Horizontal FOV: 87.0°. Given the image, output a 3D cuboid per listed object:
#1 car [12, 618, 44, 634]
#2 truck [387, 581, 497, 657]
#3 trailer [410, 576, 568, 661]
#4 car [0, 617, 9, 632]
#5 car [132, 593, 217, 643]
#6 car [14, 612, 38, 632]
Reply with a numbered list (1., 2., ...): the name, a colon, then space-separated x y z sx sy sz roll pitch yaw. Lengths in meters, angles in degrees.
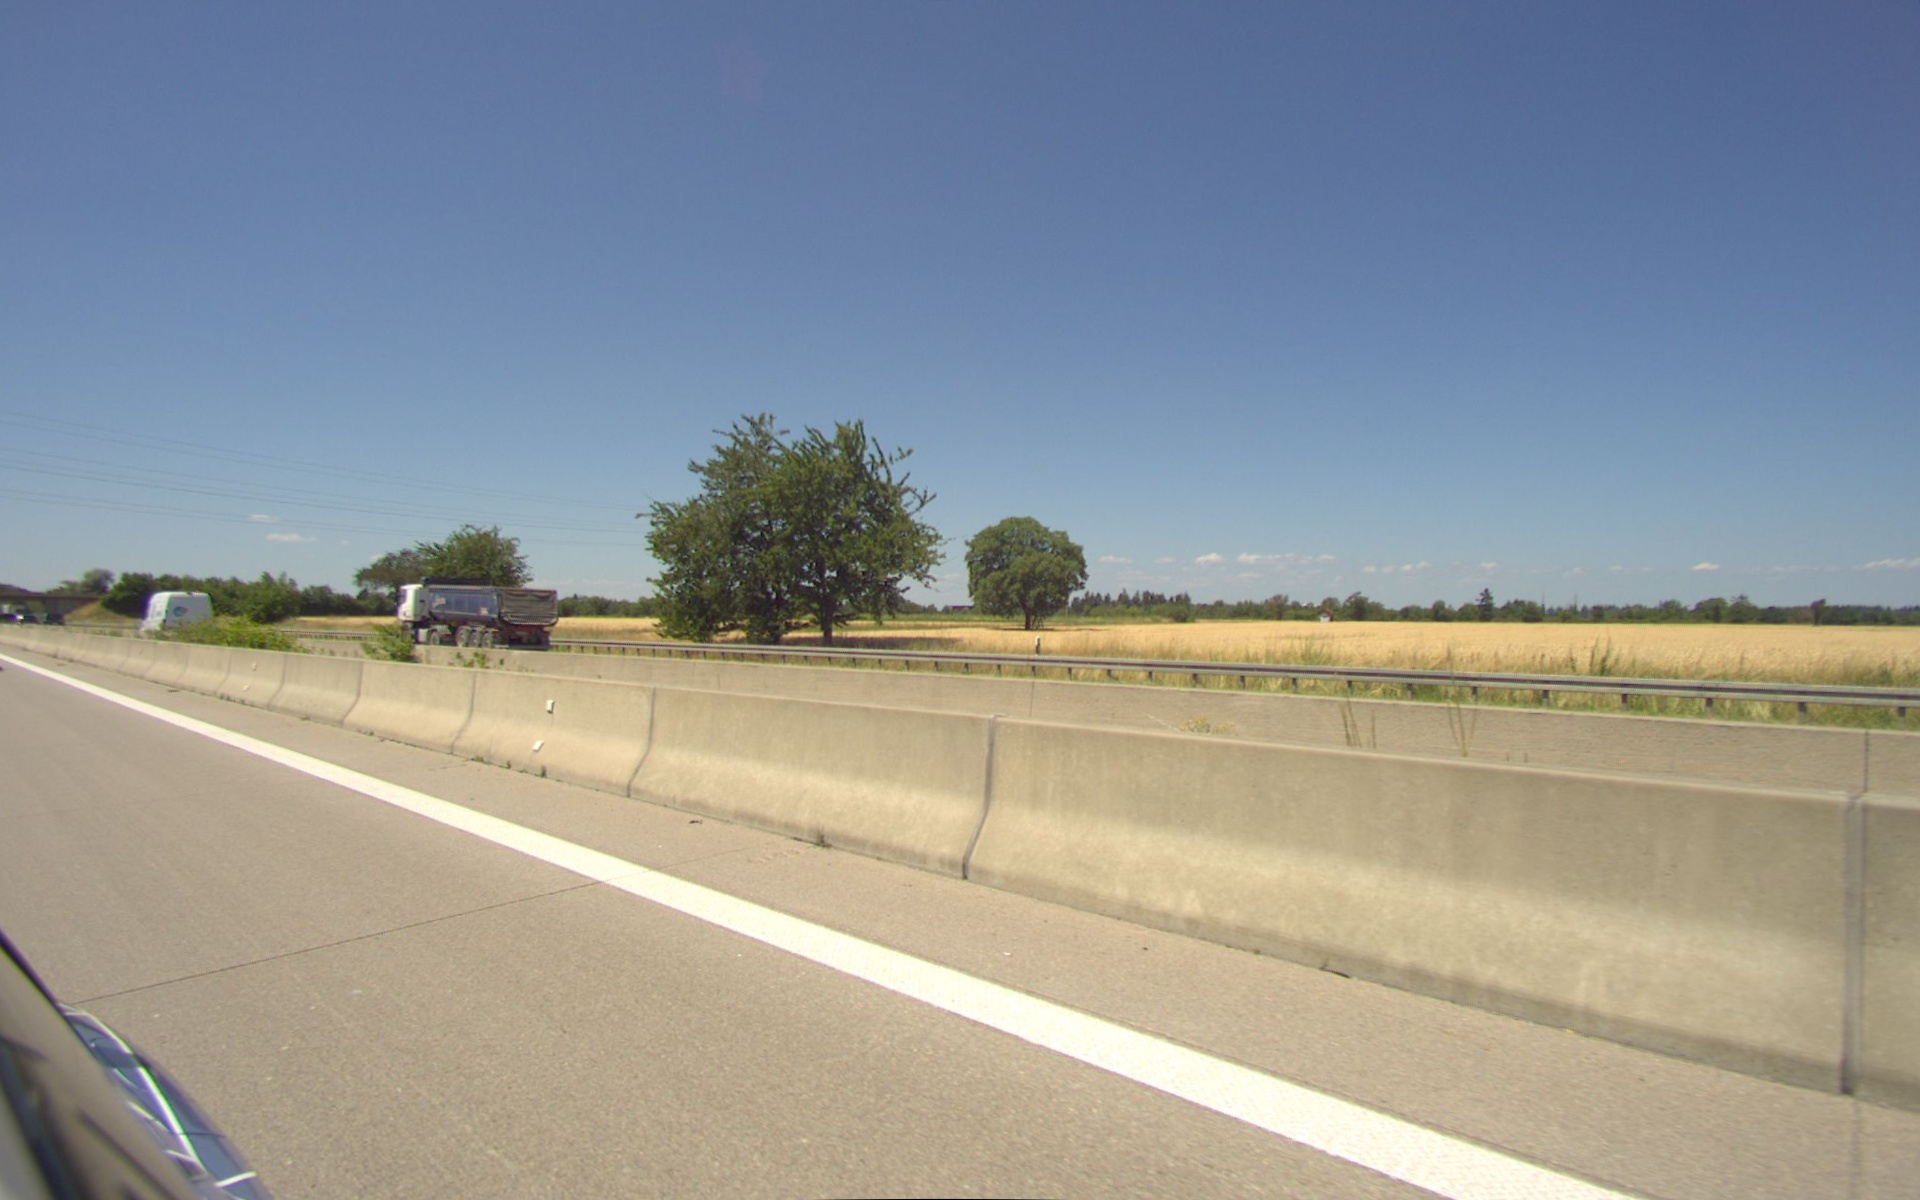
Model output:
1. car: -94.148 2.629 102.261 4.682 1.459 1.972 -1 0 42
2. truck: -24.208 0.845 47.229 5.613 3.329 2.776 -1 0 43
3. trailer: -20.651 0.773 43.993 9.462 3.329 2.797 -1 0 43
4. car: -116.940 2.990 122.796 5.826 1.840 1.971 -1 0 44
5. car: -37.304 0.827 47.981 6.325 2.205 2.186 -1 0 43
6. car: -138.815 3.289 150.451 6.794 2.807 2.223 -1 0 44
